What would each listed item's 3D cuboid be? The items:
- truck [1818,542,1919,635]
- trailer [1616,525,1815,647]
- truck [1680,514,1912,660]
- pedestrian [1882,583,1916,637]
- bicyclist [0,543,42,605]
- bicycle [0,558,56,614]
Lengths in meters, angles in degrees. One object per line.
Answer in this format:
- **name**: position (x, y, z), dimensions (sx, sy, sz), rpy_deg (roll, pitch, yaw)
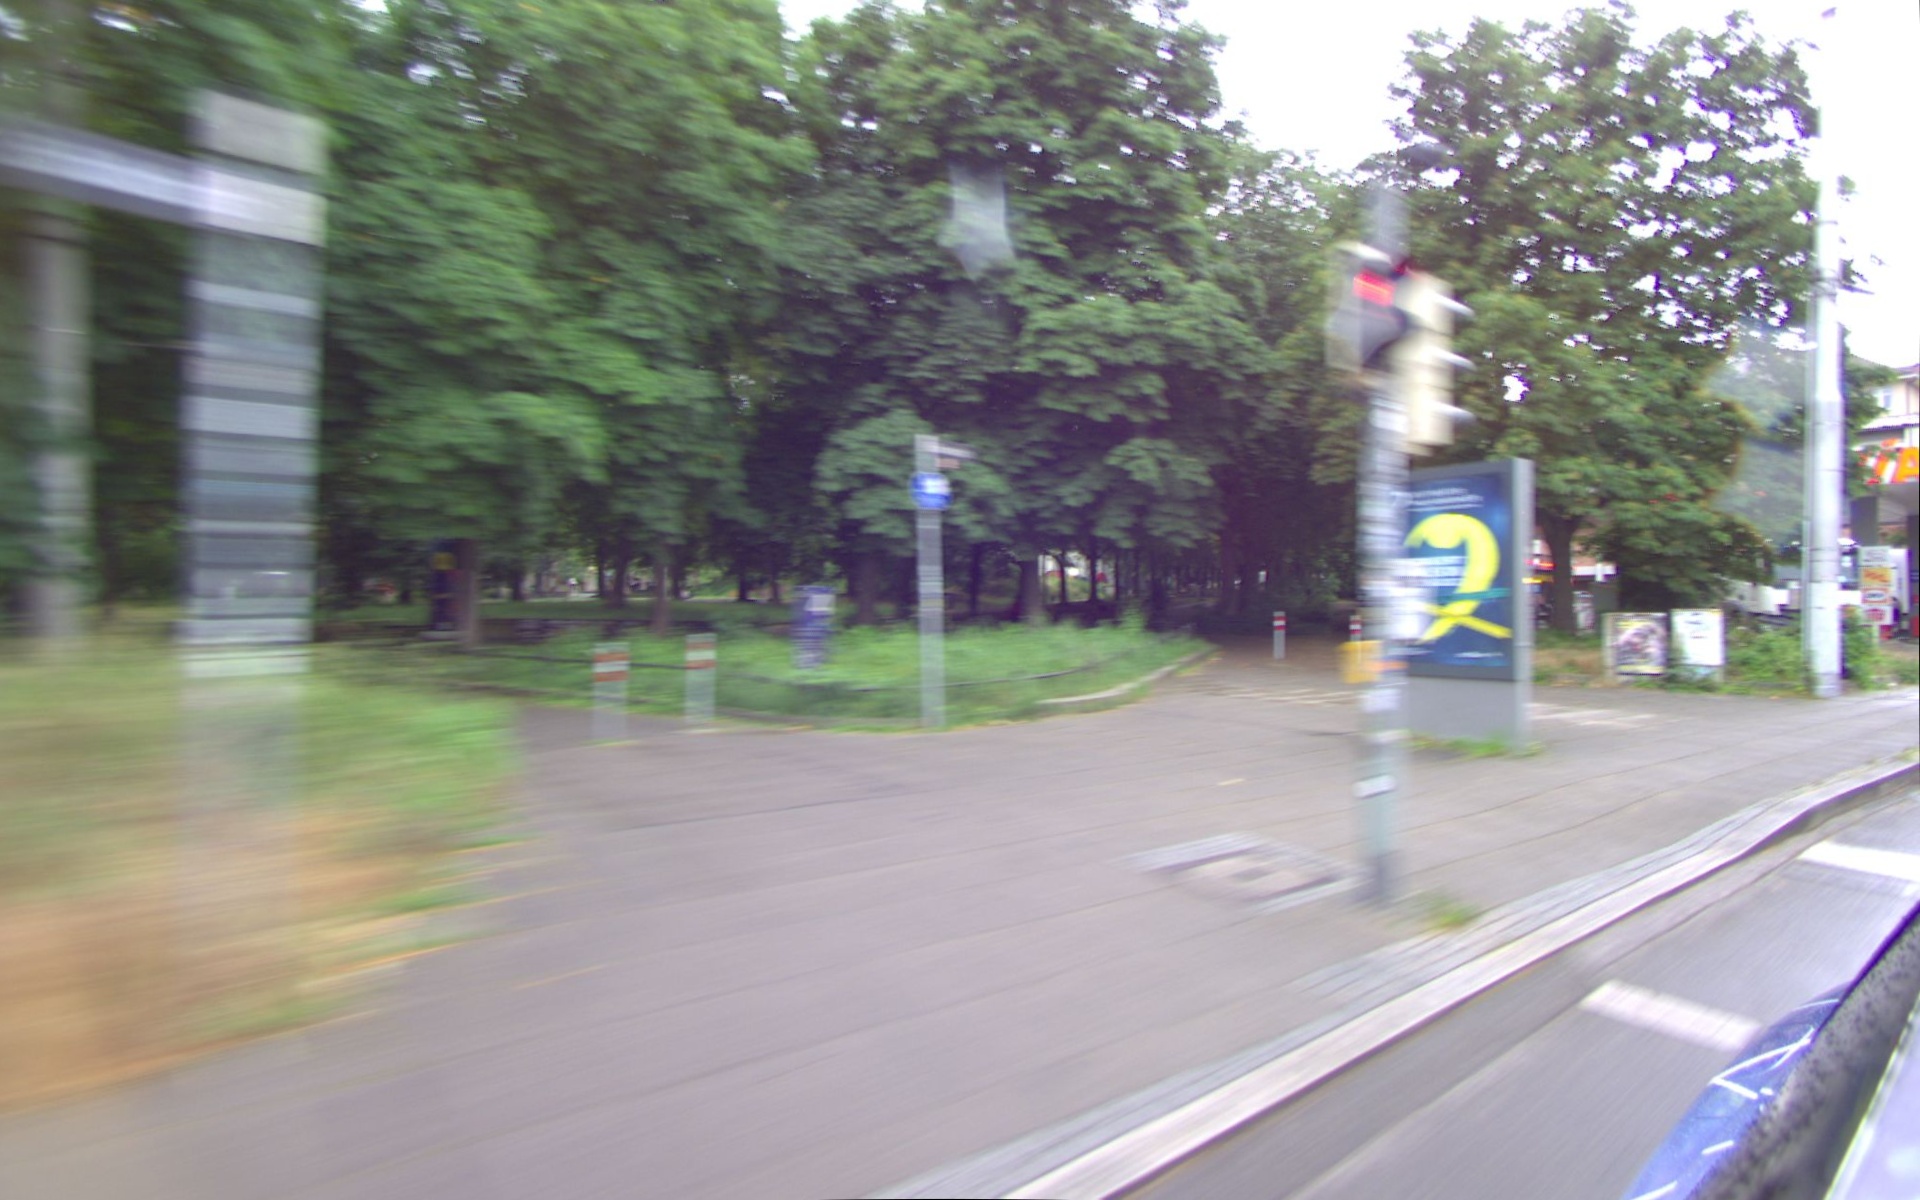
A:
- **truck**: position (40.380, -0.520, 43.163), dimensions (10.051, 3.614, 2.665), rpy_deg (-1, 1, -31)
- **trailer**: position (24.547, -0.499, 33.549), dimensions (2.780, 3.438, 9.765), rpy_deg (0, 1, 22)
- **truck**: position (22.120, -0.386, 27.242), dimensions (2.801, 3.442, 6.087), rpy_deg (1, 1, 19)
- **pedestrian**: position (36.247, 0.366, 39.078), dimensions (0.638, 2.066, 0.811), rpy_deg (0, 0, -34)
- **bicyclist**: position (-20.164, -0.551, 21.653), dimensions (0.794, 1.310, 0.587), rpy_deg (0, 1, 34)
- **bicycle**: position (-19.837, -0.305, 21.454), dimensions (1.700, 1.154, 0.618), rpy_deg (1, 1, 35)
